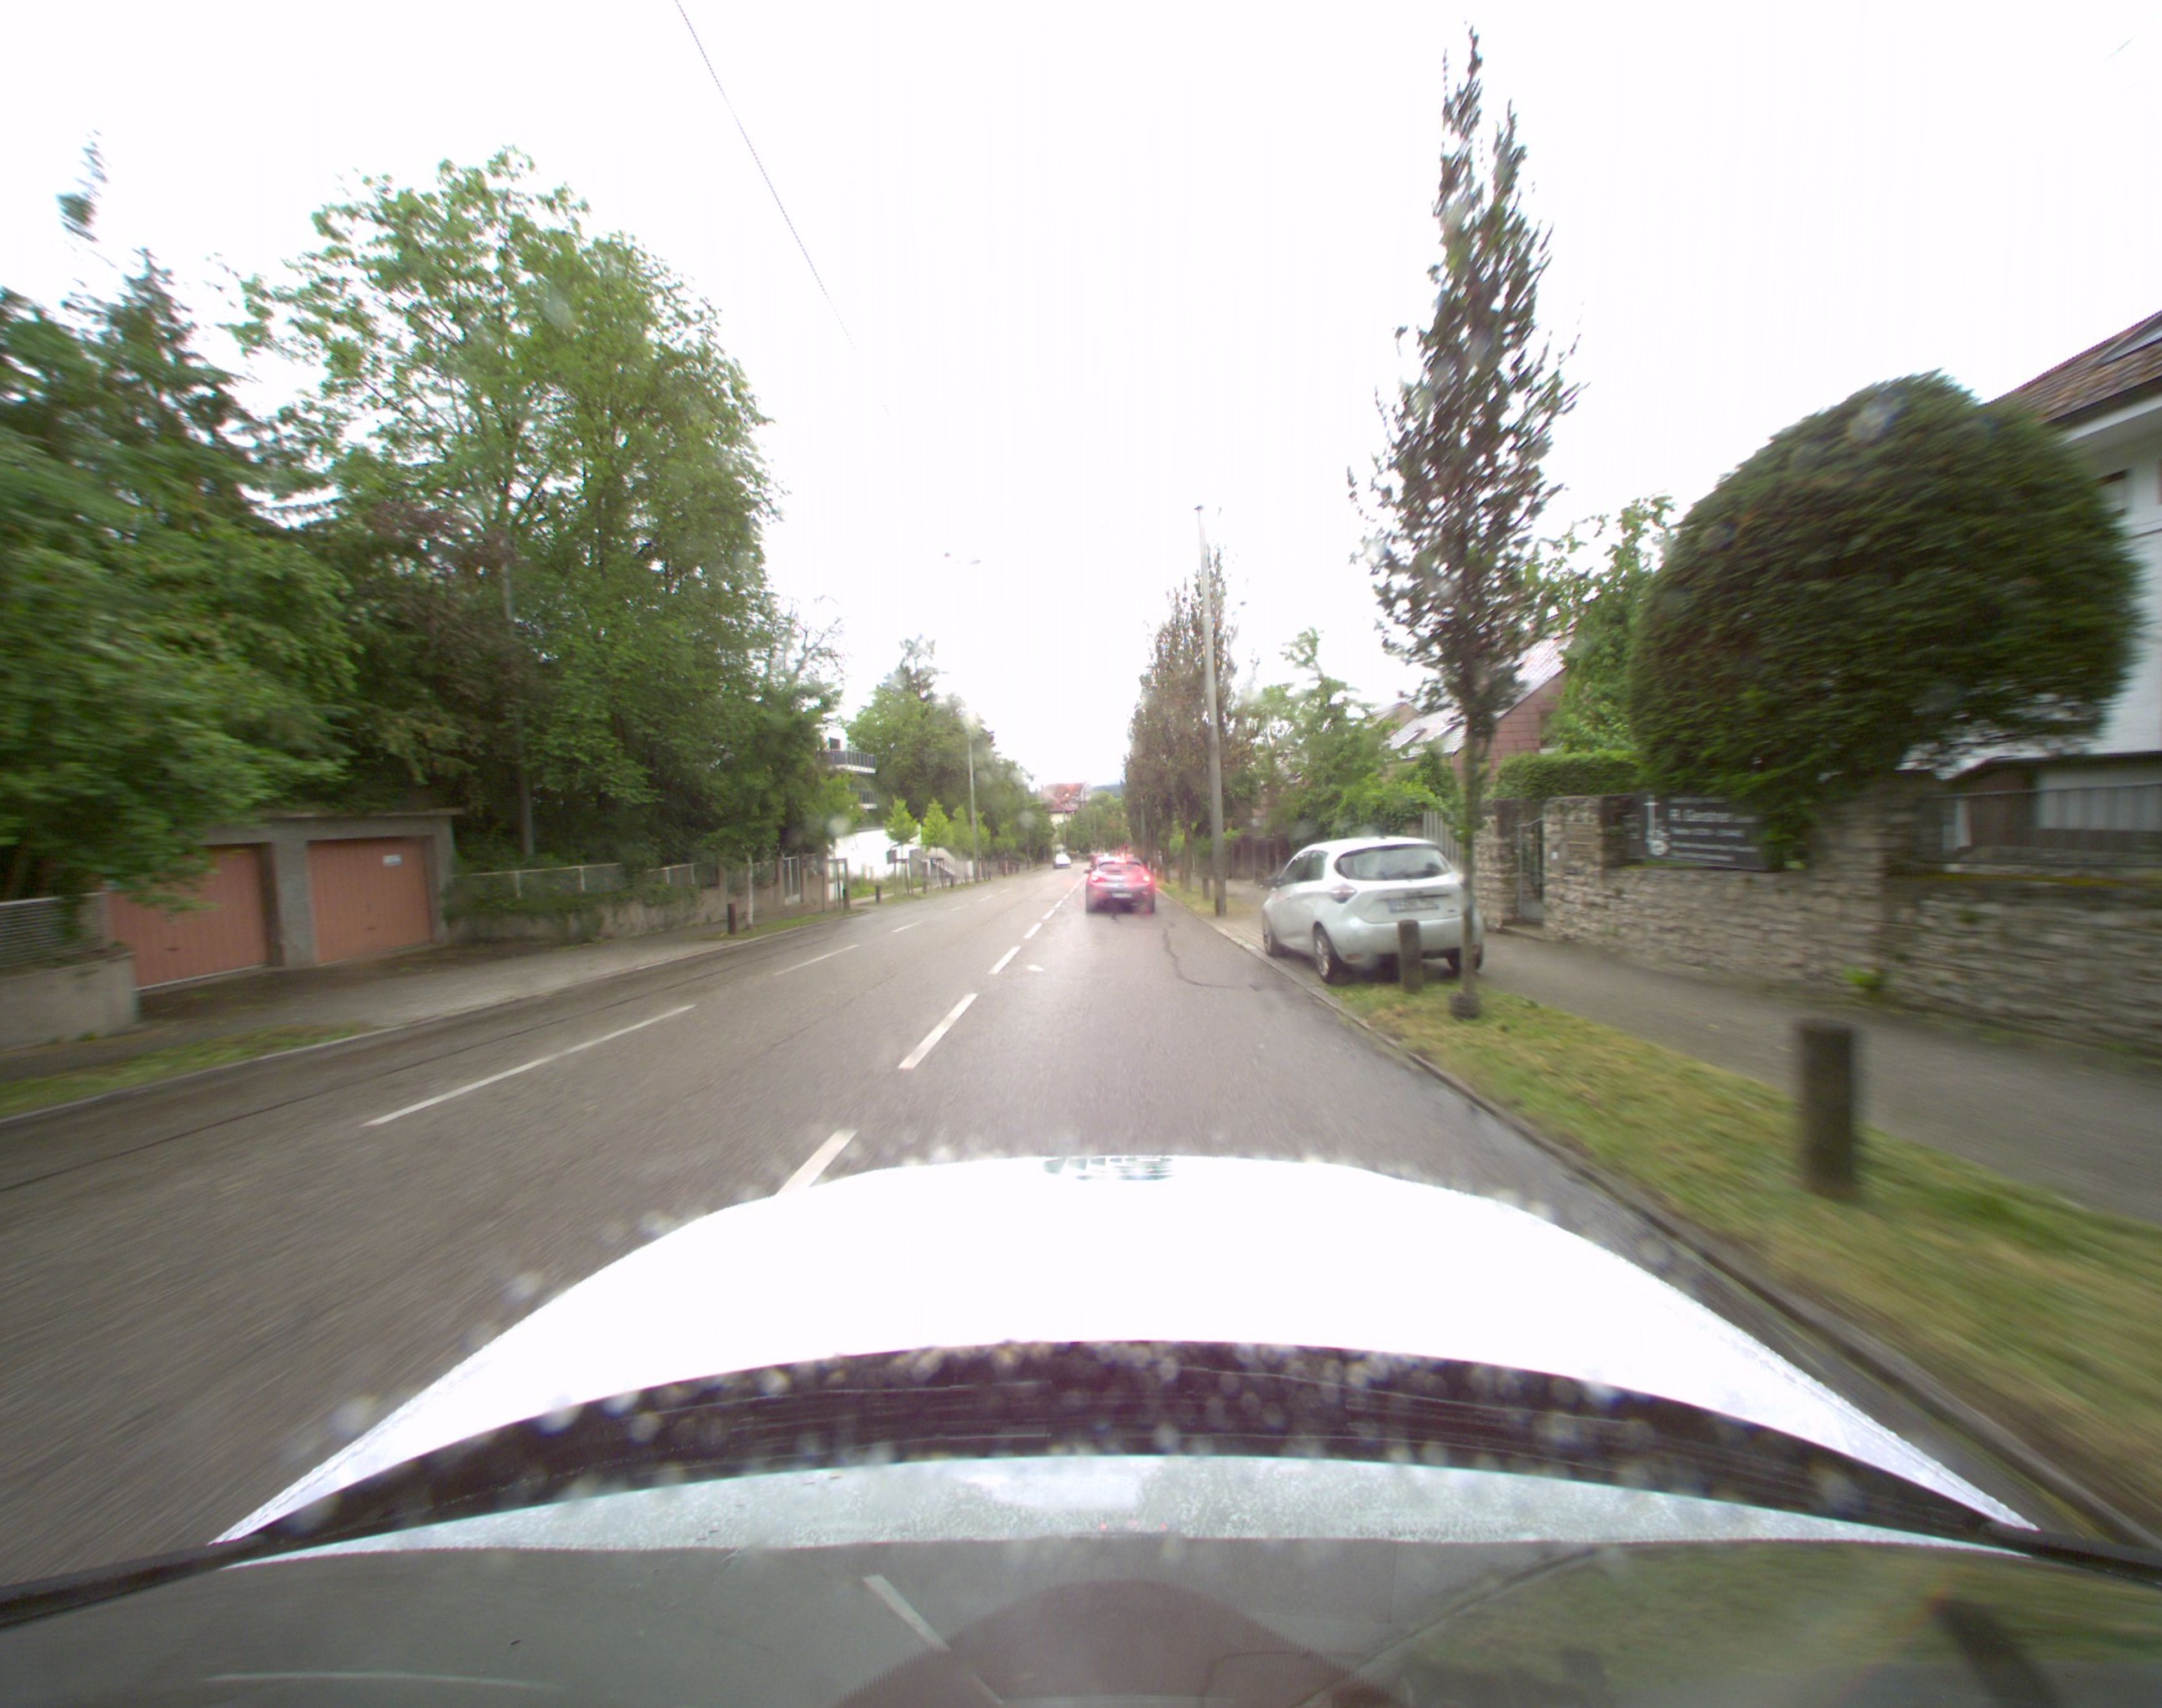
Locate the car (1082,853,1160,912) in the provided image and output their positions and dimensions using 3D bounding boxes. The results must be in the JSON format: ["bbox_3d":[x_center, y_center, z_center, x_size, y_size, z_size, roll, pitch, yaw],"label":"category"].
[{"bbox_3d":[1.069,0.720,22.597,1.938,1.432,3.886,-1,0,2],"label":"car"}]

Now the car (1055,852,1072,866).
[{"bbox_3d":[-1.958,0.553,91.381,1.756,1.486,4.000,-4,0,0],"label":"car"}]

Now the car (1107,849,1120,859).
[{"bbox_3d":[5.368,-0.060,134.489,1.745,1.651,4.008,0,1,7],"label":"car"}]

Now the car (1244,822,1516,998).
[{"bbox_3d":[3.415,0.542,10.199,1.819,1.629,4.000,-5,1,0],"label":"car"}]

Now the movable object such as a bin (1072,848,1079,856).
[{"bbox_3d":[-1.128,-0.368,158.121,1.265,1.387,0.490,-1,1,6],"label":"movable object such as a bin"}]

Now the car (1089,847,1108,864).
[{"bbox_3d":[1.967,0.128,91.888,1.759,1.780,3.985,0,2,7],"label":"car"}]

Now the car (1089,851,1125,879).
[{"bbox_3d":[1.451,0.562,44.225,1.790,1.323,4.004,-2,1,4],"label":"car"}]
